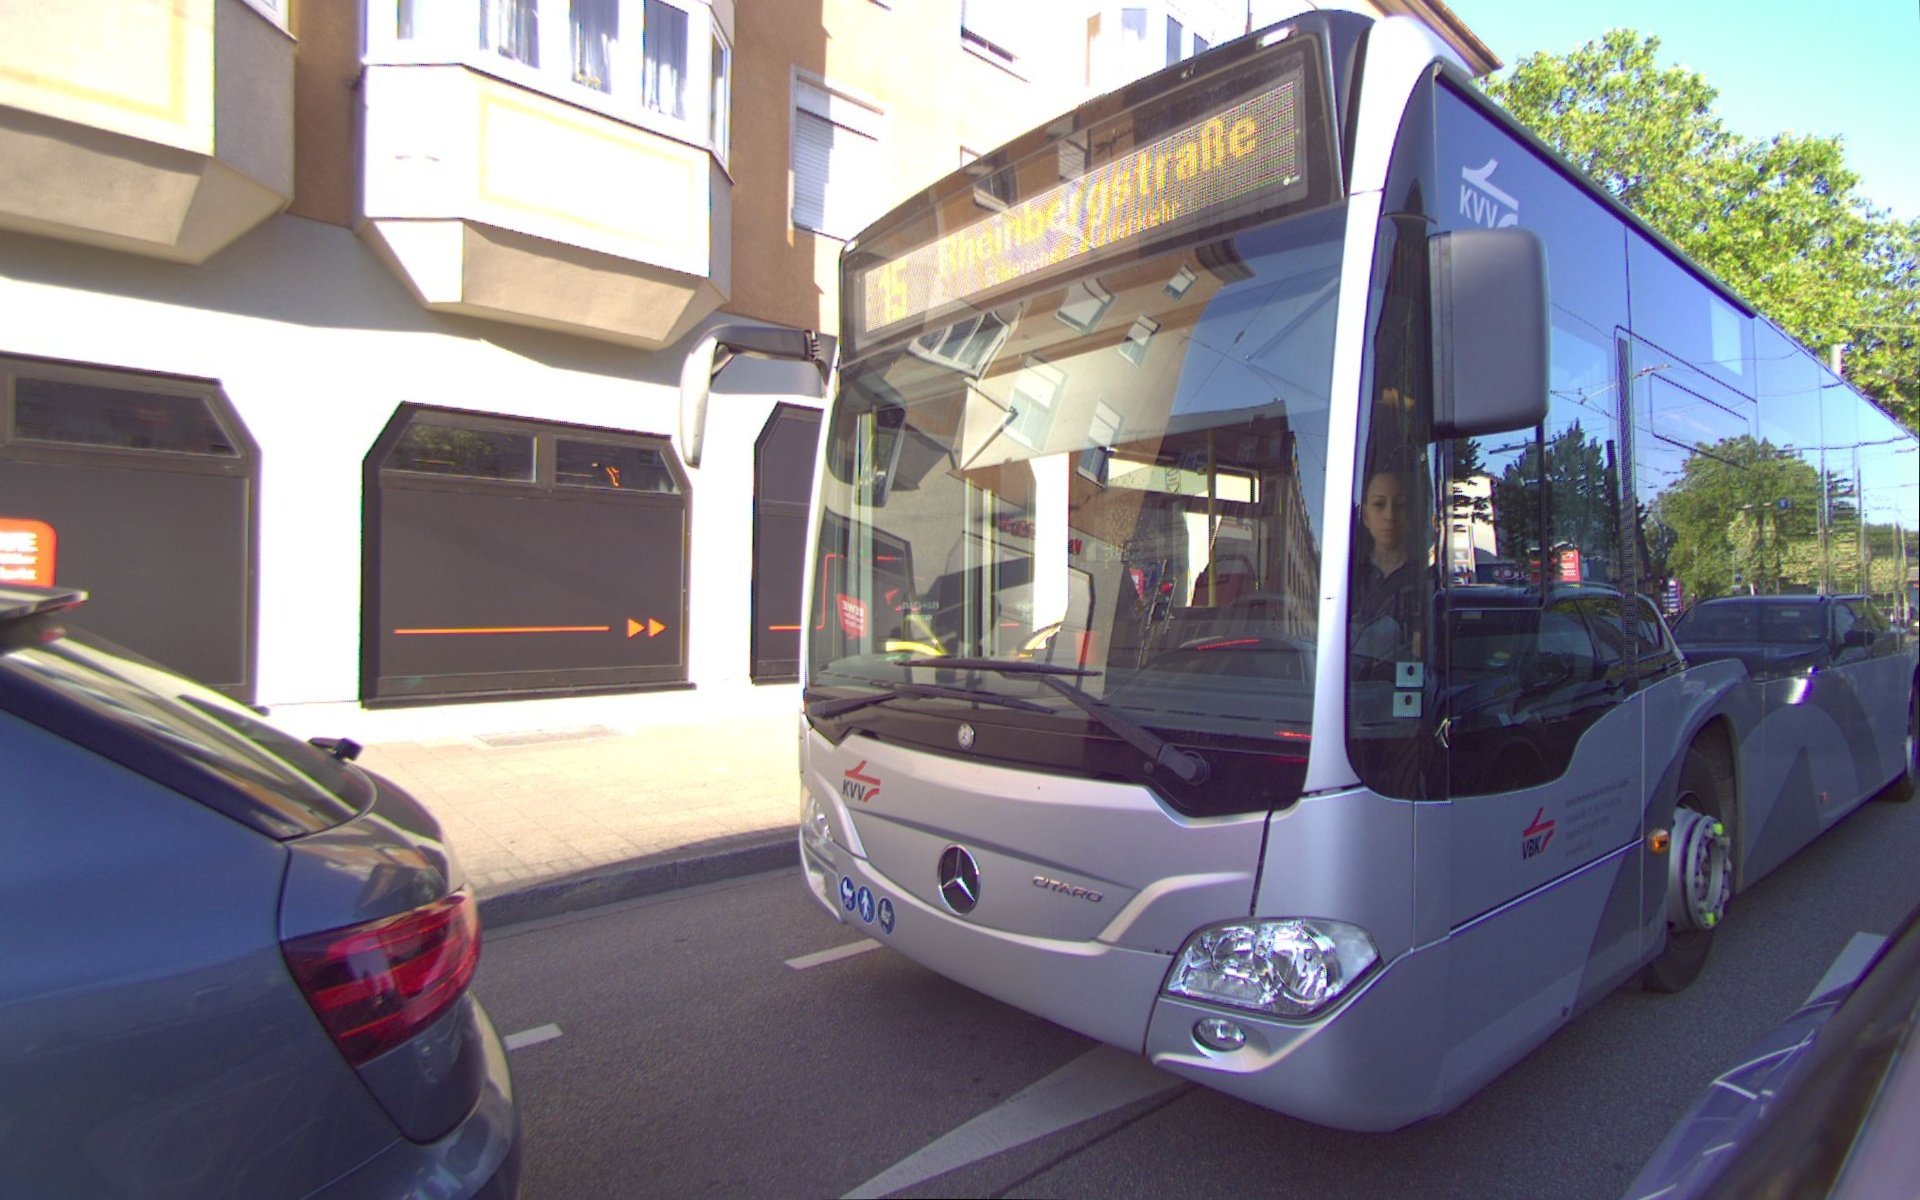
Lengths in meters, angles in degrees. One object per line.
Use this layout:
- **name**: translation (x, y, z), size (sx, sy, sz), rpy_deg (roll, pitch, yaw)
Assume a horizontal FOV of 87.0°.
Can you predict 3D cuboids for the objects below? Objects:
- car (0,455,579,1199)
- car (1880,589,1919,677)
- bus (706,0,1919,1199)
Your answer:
- **car**: translation (-2.617, 0.646, 0.616), size (4.151, 1.572, 1.700), rpy_deg (0, 0, -41)
- **car**: translation (19.482, 0.609, 19.890), size (3.759, 1.628, 1.747), rpy_deg (-1, 0, -43)
- **bus**: translation (6.458, -0.181, 8.673), size (17.432, 3.189, 2.771), rpy_deg (0, 1, -41)
